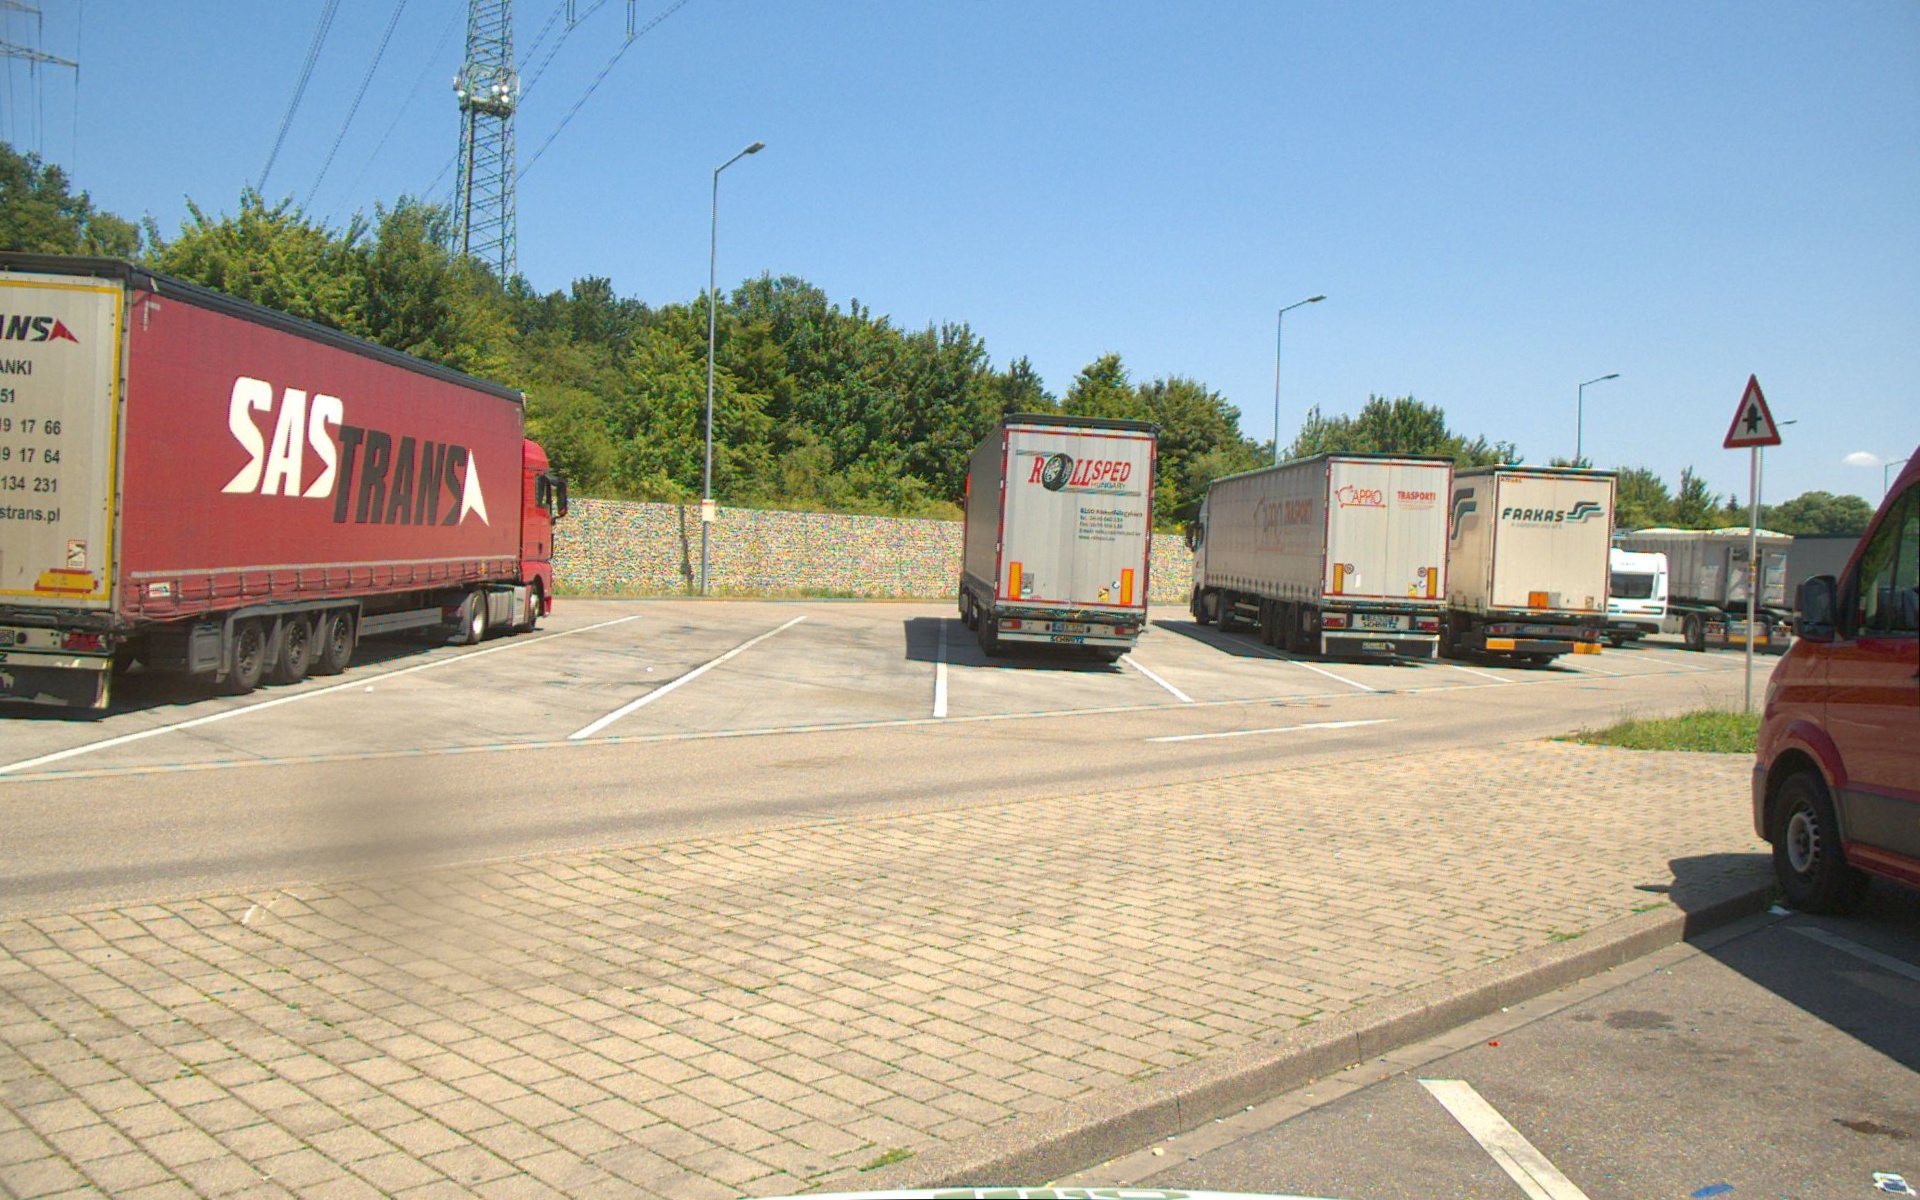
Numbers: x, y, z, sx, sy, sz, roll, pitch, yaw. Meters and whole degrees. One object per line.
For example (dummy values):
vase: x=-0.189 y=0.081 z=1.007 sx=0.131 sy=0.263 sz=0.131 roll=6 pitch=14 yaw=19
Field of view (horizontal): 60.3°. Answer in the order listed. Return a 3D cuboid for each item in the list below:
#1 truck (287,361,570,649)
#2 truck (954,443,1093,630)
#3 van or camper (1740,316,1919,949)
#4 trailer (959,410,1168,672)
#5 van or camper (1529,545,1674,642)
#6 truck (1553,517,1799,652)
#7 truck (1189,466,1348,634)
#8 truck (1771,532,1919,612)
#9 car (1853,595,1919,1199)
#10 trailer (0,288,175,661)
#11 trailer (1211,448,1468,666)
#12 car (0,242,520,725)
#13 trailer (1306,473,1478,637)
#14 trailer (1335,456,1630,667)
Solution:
truck: x=-8.694 y=-1.532 z=27.873 sx=2.641 sy=4.184 sz=6.239 roll=2 pitch=2 yaw=0
truck: x=1.427 y=-1.571 z=40.746 sx=2.809 sy=4.107 sz=7.026 roll=2 pitch=2 yaw=-2
van or camper: x=4.995 y=0.172 z=5.556 sx=1.954 sy=2.700 sz=6.482 roll=1 pitch=1 yaw=3
trailer: x=1.657 y=-1.244 z=33.666 sx=2.809 sy=4.107 sz=14.238 roll=2 pitch=2 yaw=-2
van or camper: x=18.270 y=-0.230 z=47.378 sx=2.061 sy=2.606 sz=5.372 roll=1 pitch=1 yaw=0
truck: x=21.750 y=-0.657 z=51.241 sx=2.437 sy=3.630 sz=11.423 roll=2 pitch=2 yaw=-1
truck: x=8.169 y=-1.391 z=44.732 sx=2.808 sy=4.107 sz=6.956 roll=2 pitch=2 yaw=-1
truck: x=34.704 y=-1.079 z=63.634 sx=2.082 sy=2.869 sz=9.777 roll=1 pitch=1 yaw=-1
car: x=2.546 y=0.794 z=1.108 sx=1.584 sy=1.509 sz=3.762 roll=1 pitch=1 yaw=-6
trailer: x=-12.542 y=-1.407 z=17.157 sx=2.756 sy=4.341 sz=12.940 roll=2 pitch=2 yaw=-1
trailer: x=8.249 y=-1.095 z=38.101 sx=2.808 sy=4.107 sz=12.438 roll=2 pitch=2 yaw=-1
car: x=-8.672 y=-1.282 z=20.956 sx=2.641 sy=4.184 sz=12.935 roll=2 pitch=2 yaw=0
trailer: x=11.755 y=-1.299 z=45.639 sx=2.808 sy=4.107 sz=6.570 roll=2 pitch=2 yaw=-1
trailer: x=11.826 y=-1.030 z=39.219 sx=2.808 sy=4.107 sz=12.438 roll=2 pitch=2 yaw=-1
